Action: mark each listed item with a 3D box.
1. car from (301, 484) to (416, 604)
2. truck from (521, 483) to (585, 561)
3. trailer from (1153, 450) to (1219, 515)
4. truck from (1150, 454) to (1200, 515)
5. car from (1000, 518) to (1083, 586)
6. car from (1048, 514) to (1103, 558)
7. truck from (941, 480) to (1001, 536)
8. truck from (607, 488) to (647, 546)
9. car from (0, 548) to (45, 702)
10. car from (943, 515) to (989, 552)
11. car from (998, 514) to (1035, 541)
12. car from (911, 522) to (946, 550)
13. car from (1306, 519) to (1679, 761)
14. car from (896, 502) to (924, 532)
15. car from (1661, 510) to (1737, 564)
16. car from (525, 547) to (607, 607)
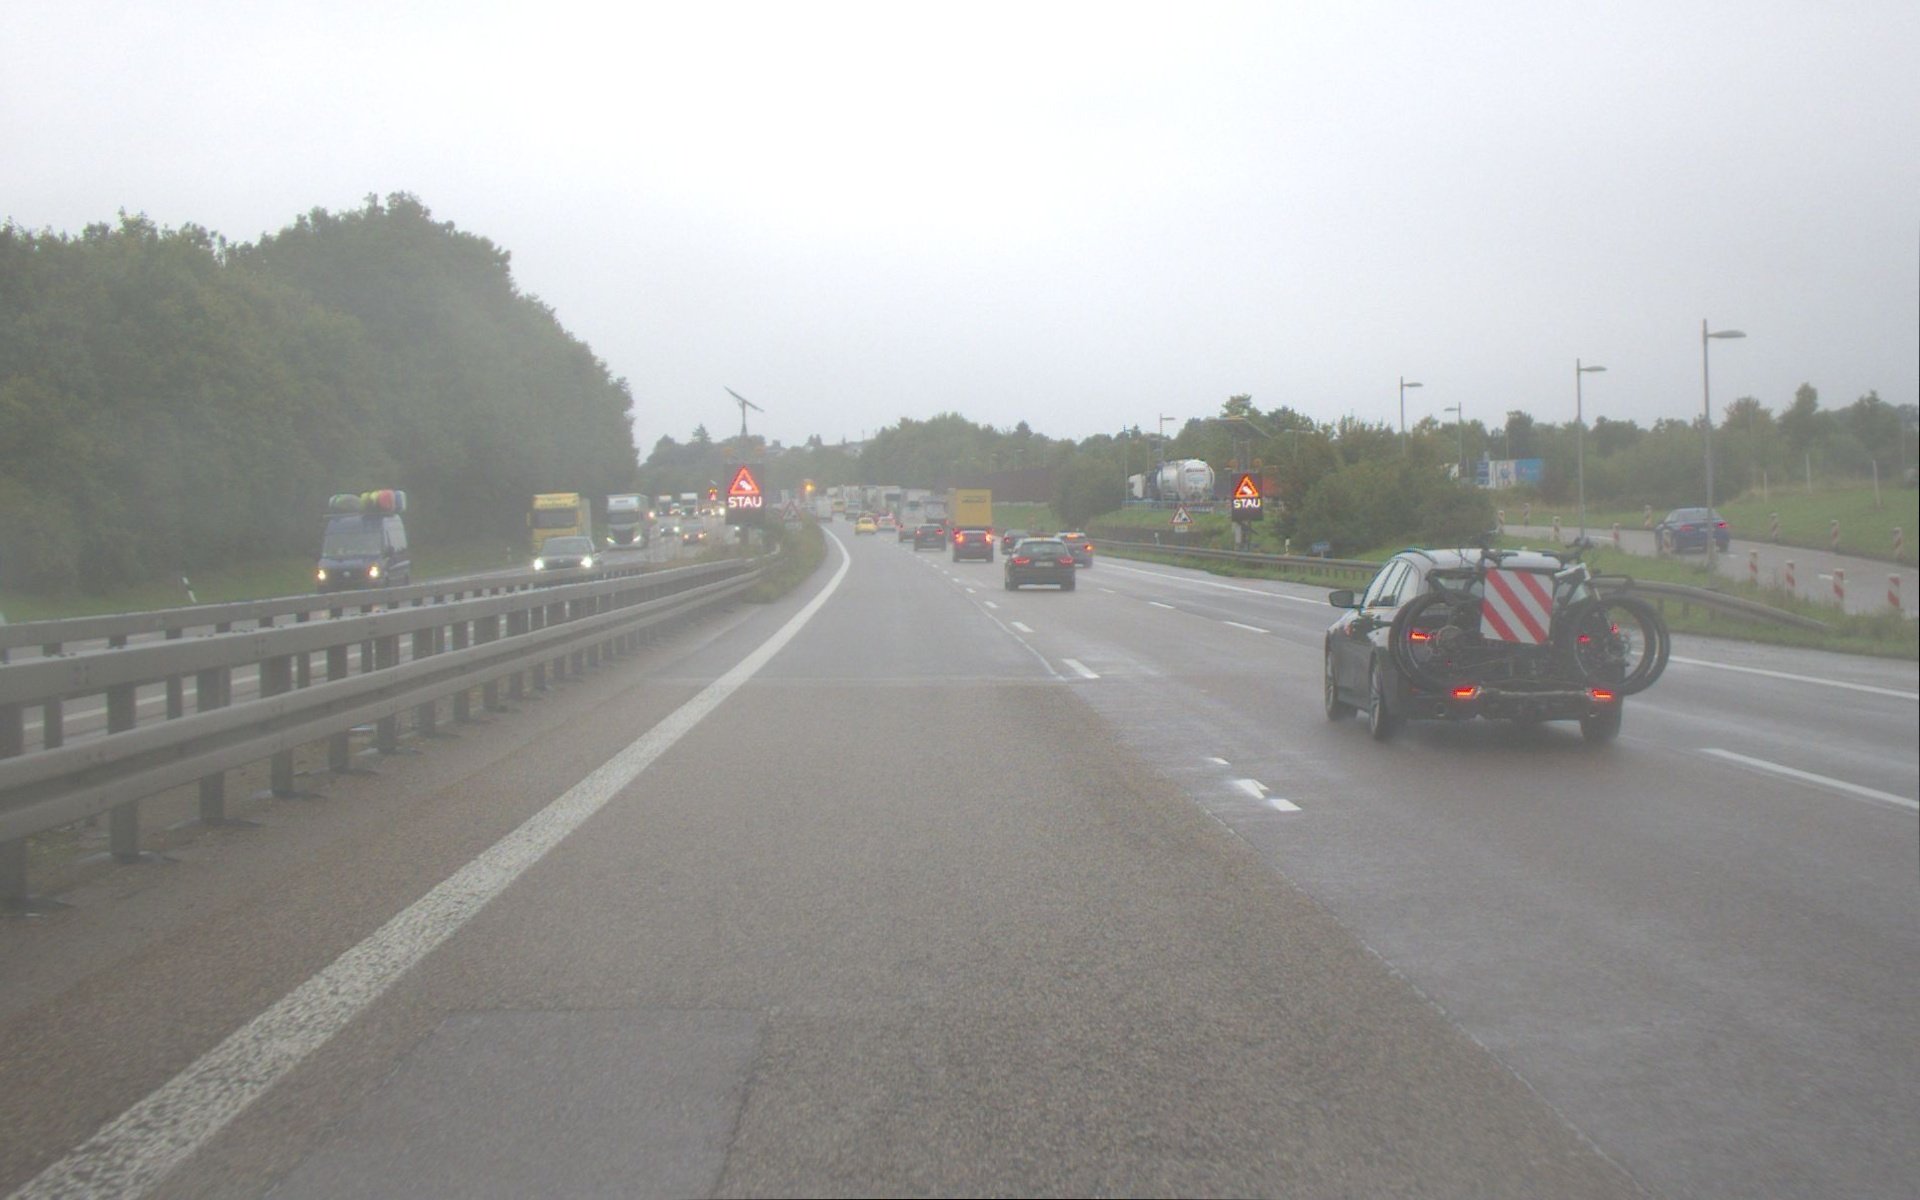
[{"bbox_3d":[-17.600,-1.652,100.831,2.254,3.316,6.176,-2,1,-1],"label":"car"},{"bbox_3d":[-22.295,-4.285,188.534,2.762,4.041,6.158,-3,1,-2],"label":"truck"},{"bbox_3d":[15.025,-7.771,229.668,2.985,4.142,12.958,-2,1,-2],"label":"trailer"},{"bbox_3d":[14.784,-7.932,236.884,2.949,4.131,4.923,-2,1,-1],"label":"truck"},{"bbox_3d":[2.192,-1.315,93.638,1.993,1.755,4.001,-2,1,-2],"label":"car"},{"bbox_3d":[4.793,-2.678,143.123,1.993,1.755,4.001,2,1,-2],"label":"car"},{"bbox_3d":[0.744,-6.820,255.292,3.924,3.967,12.241,-2,1,-2],"label":"truck"},{"bbox_3d":[-24.918,-6.212,257.436,2.643,4.222,4.001,-1,1,-1],"label":"truck"},{"bbox_3d":[-10.349,0.293,33.082,1.822,1.507,4.791,-2,1,-1],"label":"car"},{"bbox_3d":[0.267,-3.112,159.969,1.993,1.623,4.001,-2,1,-2],"label":"car"},{"bbox_3d":[3.426,-4.397,208.162,1.993,1.623,4.001,-2,1,-2],"label":"car"},{"bbox_3d":[-1.919,-3.884,207.534,1.993,1.623,4.001,-2,1,-2],"label":"car"},{"bbox_3d":[3.966,0.254,26.559,2.058,1.665,5.522,0,0,0],"label":"car"},{"bbox_3d":[-3.770,-6.195,257.271,1.993,2.197,4.001,-2,1,-2],"label":"car"},{"bbox_3d":[24.543,-2.106,114.266,1.922,1.703,4.000,-1,1,5],"label":"car"},{"bbox_3d":[-11.804,-0.707,103.294,1.923,1.650,4.791,-2,1,-1],"label":"car"}]
